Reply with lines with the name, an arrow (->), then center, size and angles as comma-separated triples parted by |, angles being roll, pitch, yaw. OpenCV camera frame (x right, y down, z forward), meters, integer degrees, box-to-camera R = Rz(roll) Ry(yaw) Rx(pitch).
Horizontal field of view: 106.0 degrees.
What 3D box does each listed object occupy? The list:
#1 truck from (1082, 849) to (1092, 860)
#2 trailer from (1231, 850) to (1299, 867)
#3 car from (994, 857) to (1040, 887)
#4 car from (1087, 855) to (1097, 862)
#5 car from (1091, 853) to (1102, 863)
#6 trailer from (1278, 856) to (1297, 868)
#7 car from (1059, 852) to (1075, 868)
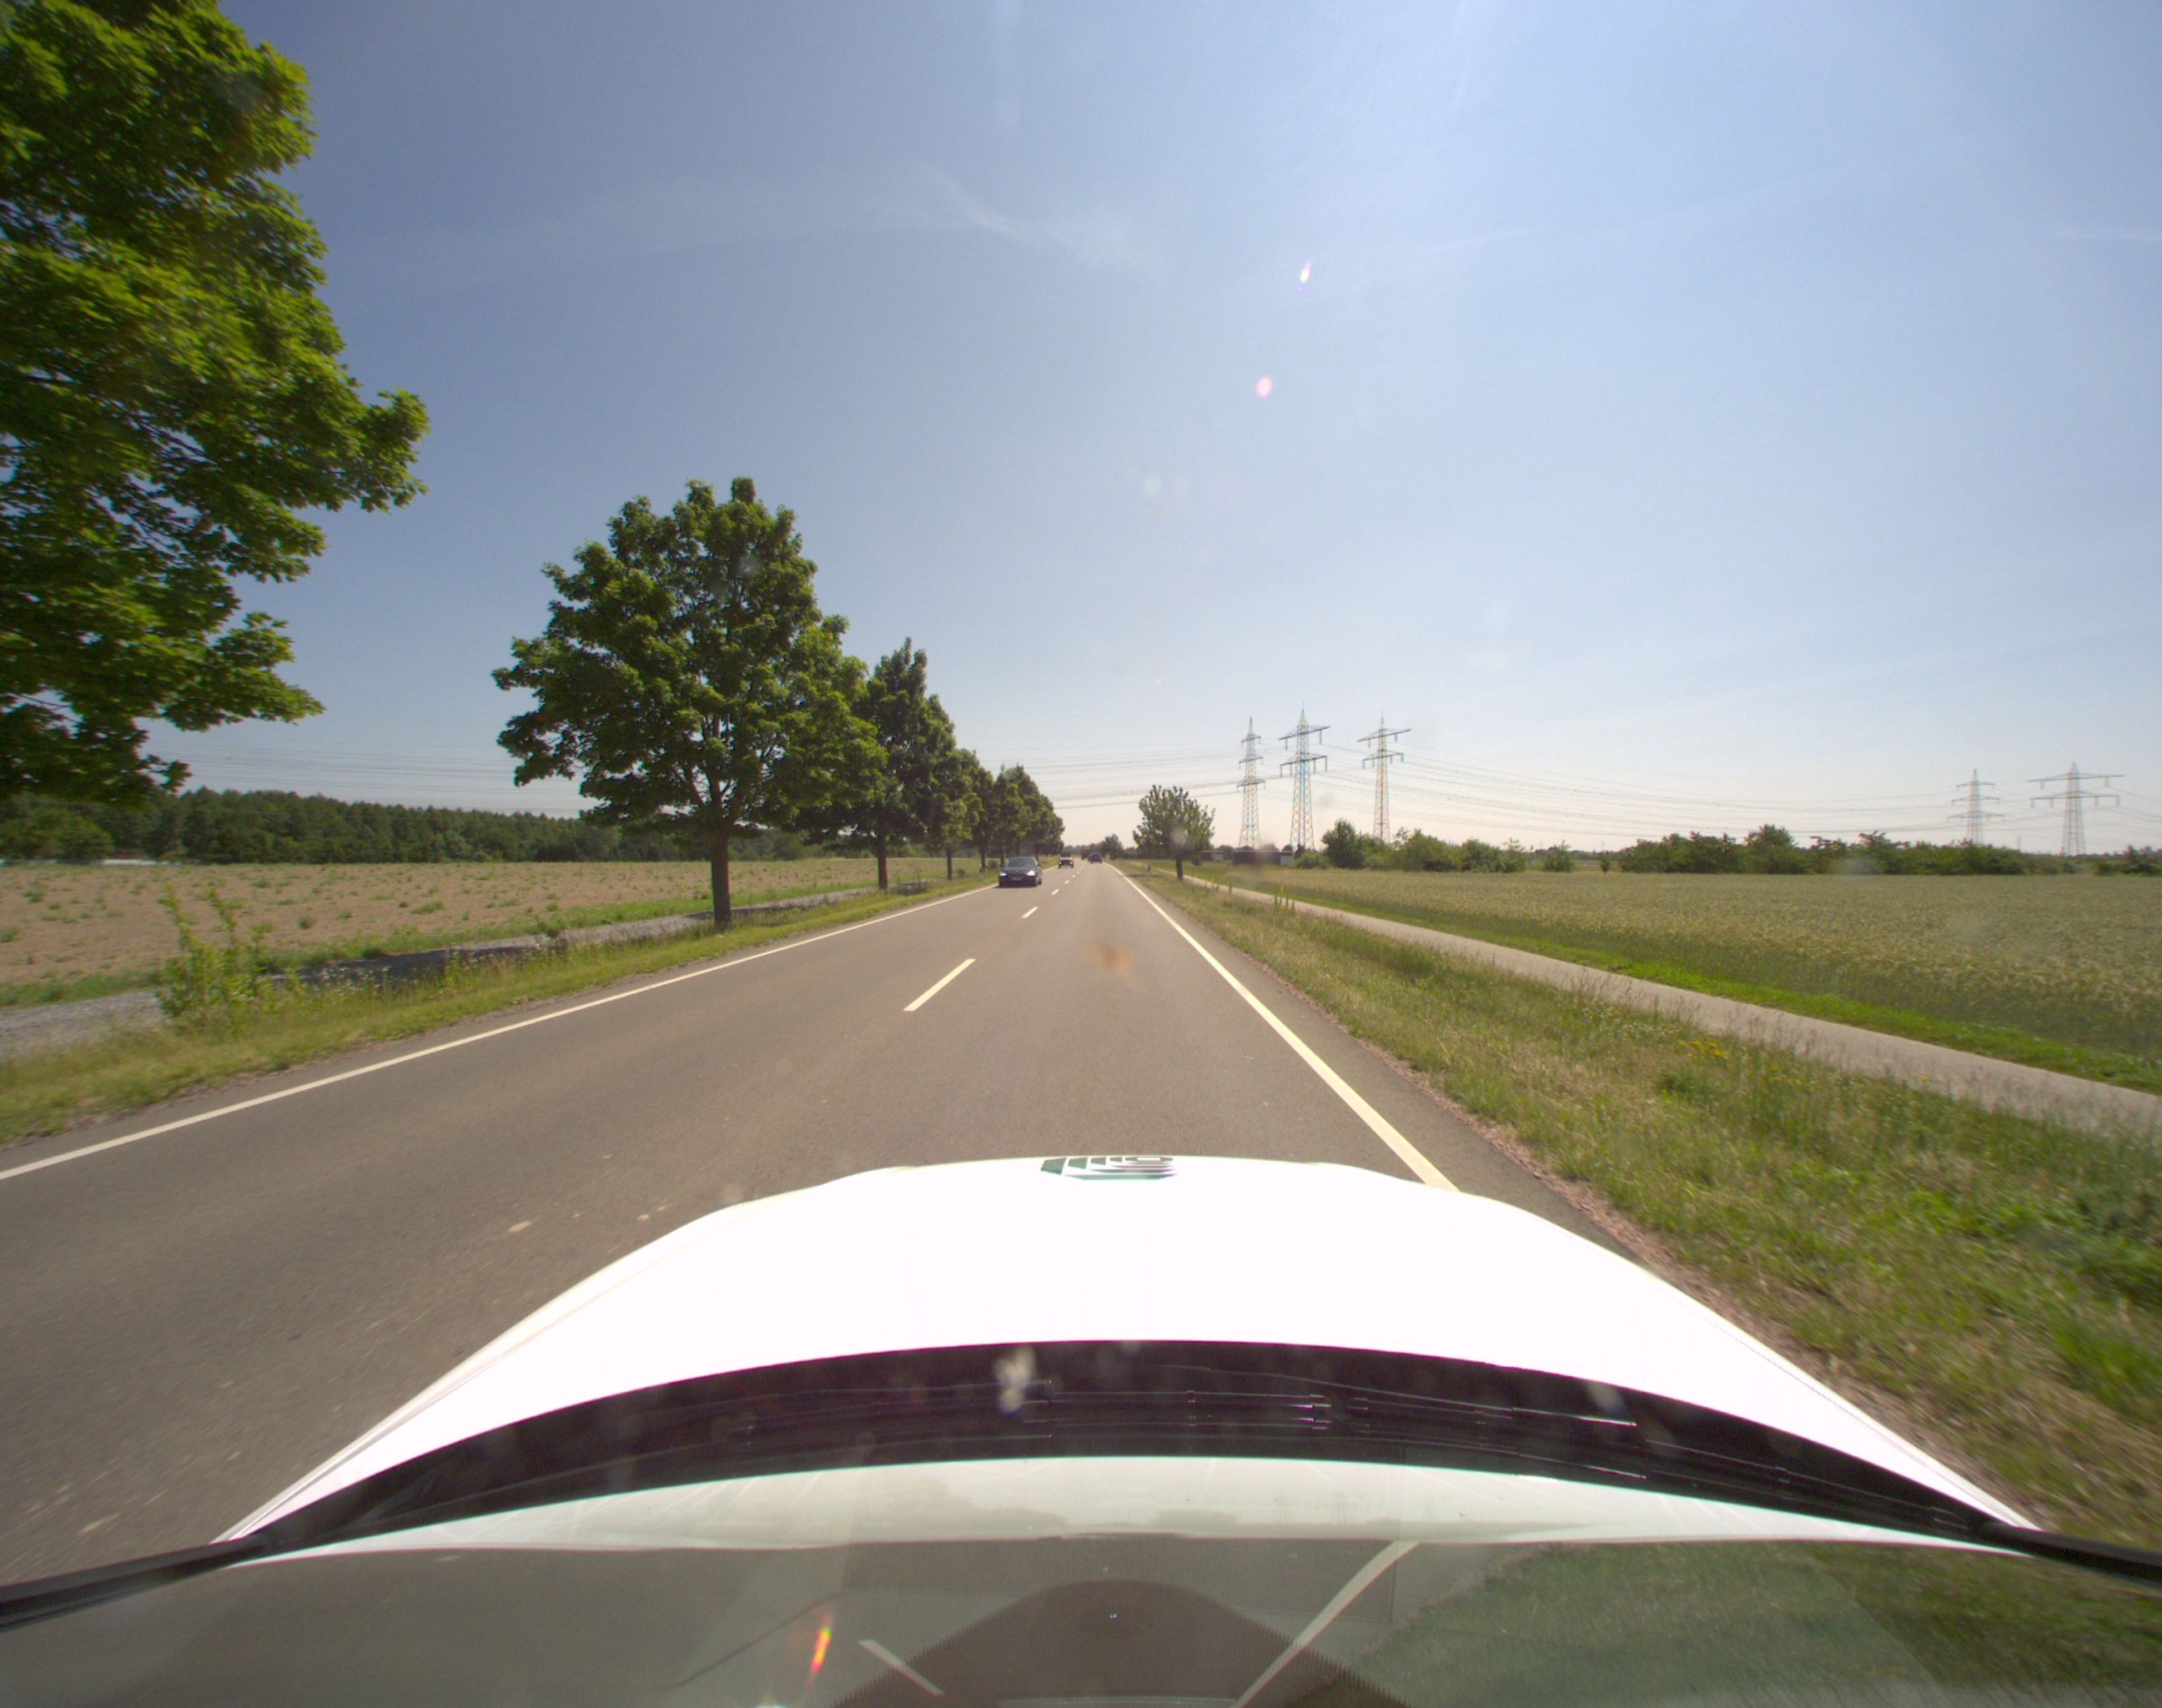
truck -> 1.536, 0.141, 225.530 | 2.365, 3.140, 8.738 | 0, 0, -3
trailer -> 37.907, 0.902, 168.122 | 13.473, 3.475, 3.274 | 0, 0, -2
car -> -3.115, 0.859, 40.628 | 1.815, 1.420, 4.590 | -1, 0, 1
car -> 2.345, 0.895, 172.545 | 1.846, 1.523, 3.997 | -1, 0, -2
car -> 2.566, 0.697, 135.284 | 1.709, 1.694, 3.988 | -1, 0, 0
trailer -> 41.929, 1.558, 165.448 | 3.398, 2.462, 2.036 | 0, 0, -2
car -> -1.651, 0.701, 94.553 | 1.675, 1.849, 4.001 | 0, 0, 1
